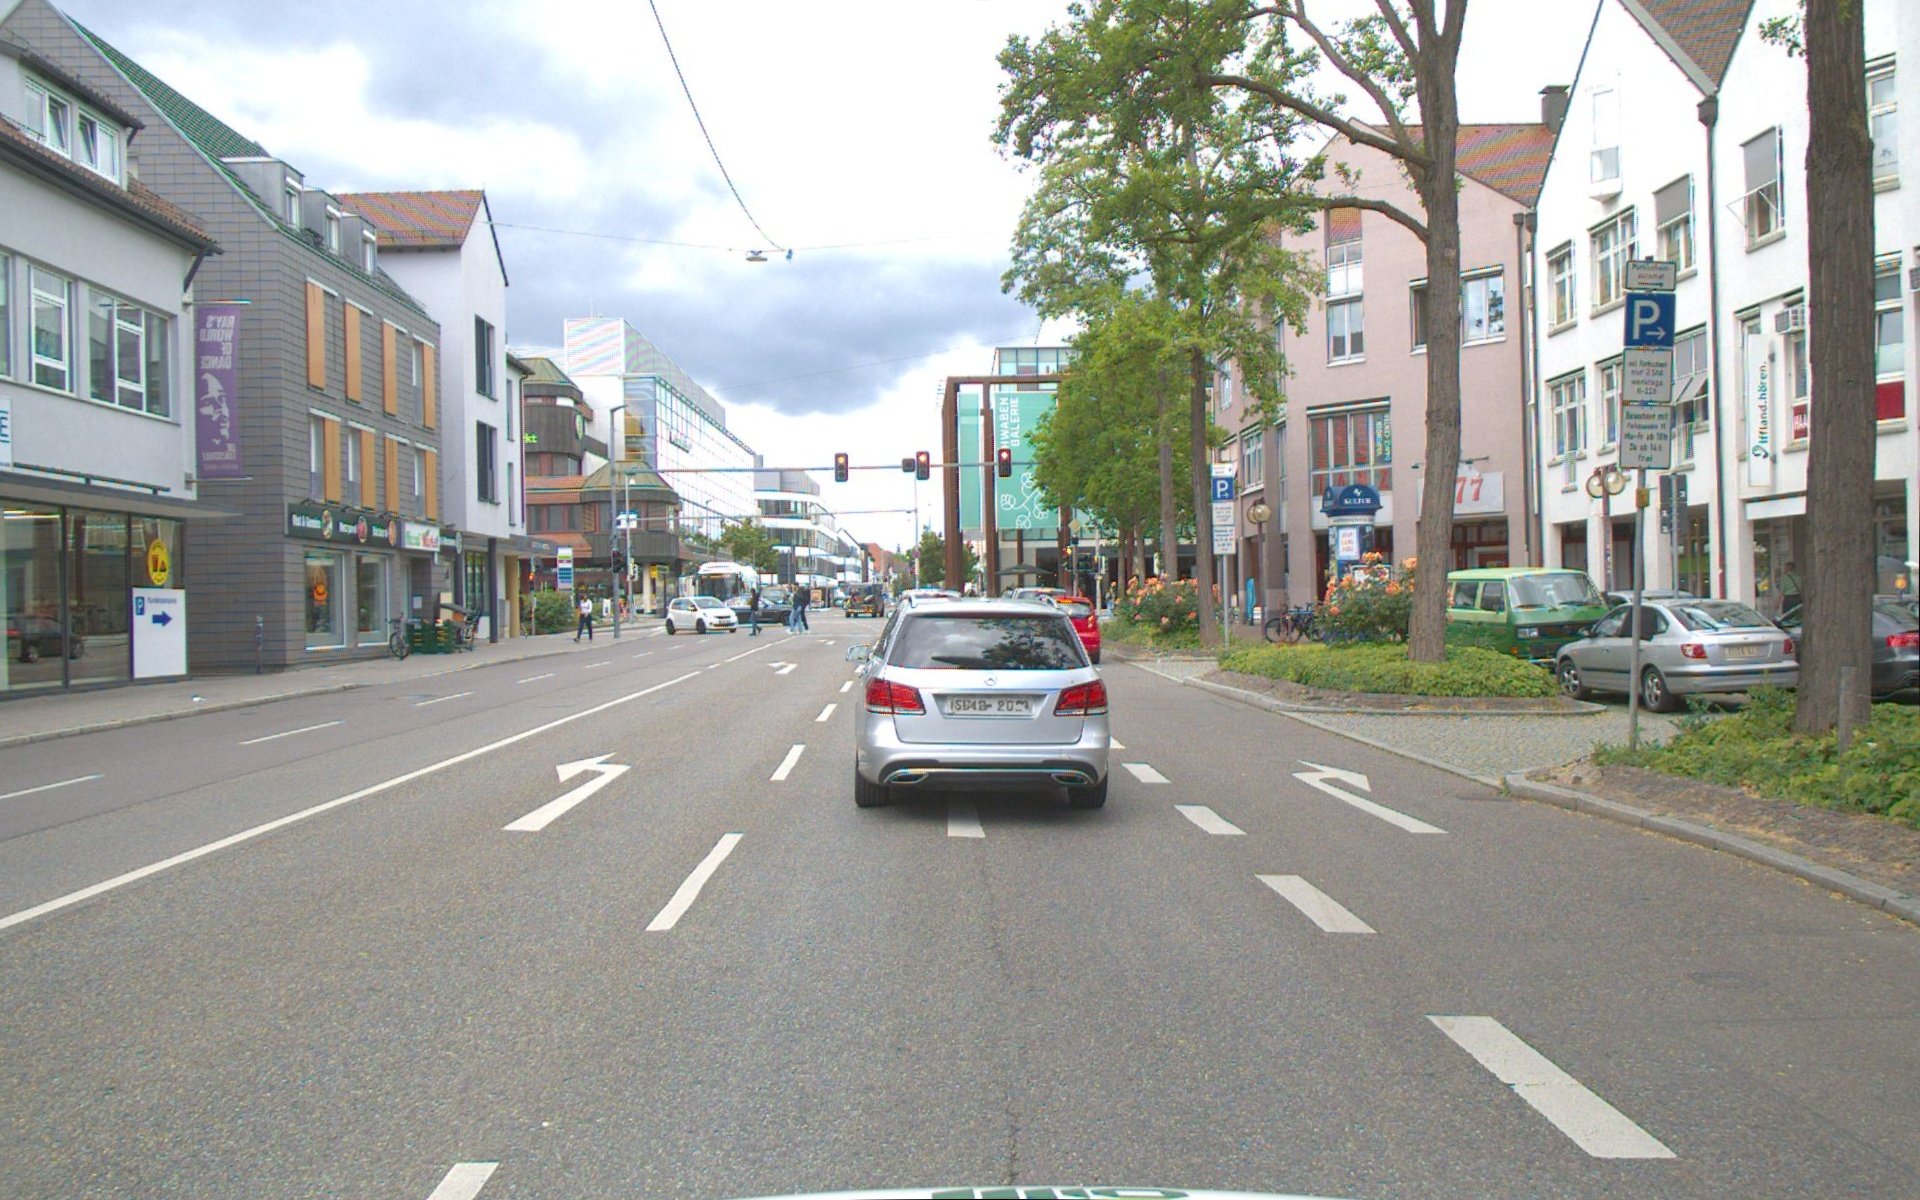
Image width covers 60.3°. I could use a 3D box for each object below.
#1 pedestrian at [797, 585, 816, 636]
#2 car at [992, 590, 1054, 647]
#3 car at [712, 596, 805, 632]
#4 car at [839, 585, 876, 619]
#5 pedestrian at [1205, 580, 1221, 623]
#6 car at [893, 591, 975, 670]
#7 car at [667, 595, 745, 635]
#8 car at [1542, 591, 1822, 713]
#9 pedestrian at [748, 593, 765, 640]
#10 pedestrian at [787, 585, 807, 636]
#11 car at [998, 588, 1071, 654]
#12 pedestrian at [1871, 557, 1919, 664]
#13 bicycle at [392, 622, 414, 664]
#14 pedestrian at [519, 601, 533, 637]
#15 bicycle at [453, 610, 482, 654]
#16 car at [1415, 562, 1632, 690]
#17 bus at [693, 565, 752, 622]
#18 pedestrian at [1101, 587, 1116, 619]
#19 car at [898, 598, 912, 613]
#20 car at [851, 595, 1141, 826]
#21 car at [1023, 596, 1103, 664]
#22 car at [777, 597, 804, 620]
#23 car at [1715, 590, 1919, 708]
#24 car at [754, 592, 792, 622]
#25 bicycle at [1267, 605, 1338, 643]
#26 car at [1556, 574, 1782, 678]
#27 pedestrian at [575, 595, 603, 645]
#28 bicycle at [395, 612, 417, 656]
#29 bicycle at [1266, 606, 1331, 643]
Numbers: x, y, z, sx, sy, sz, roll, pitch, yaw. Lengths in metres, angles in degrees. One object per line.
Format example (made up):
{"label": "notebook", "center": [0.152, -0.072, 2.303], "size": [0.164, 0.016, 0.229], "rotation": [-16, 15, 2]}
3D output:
{"label": "pedestrian", "center": [-5.538, 0.381, 59.797], "size": [0.633, 1.806, 0.569], "rotation": [-1, 0, -9]}
{"label": "car", "center": [1.884, 0.541, 50.237], "size": [1.555, 1.623, 3.866], "rotation": [1, 0, -3]}
{"label": "car", "center": [-9.273, 0.642, 76.390], "size": [4.102, 1.557, 1.790], "rotation": [-1, 0, -1]}
{"label": "car", "center": [-6.186, 0.082, 100.314], "size": [1.953, 1.983, 4.950], "rotation": [-1, 0, -1]}
{"label": "pedestrian", "center": [10.772, 0.074, 70.479], "size": [0.557, 1.806, 0.647], "rotation": [-1, 0, 2]}
{"label": "car", "center": [-0.554, 0.588, 34.277], "size": [1.606, 1.554, 3.393], "rotation": [0, 0, -1]}
{"label": "car", "center": [-10.212, 0.623, 66.332], "size": [1.564, 1.514, 3.413], "rotation": [-2, 0, -40]}
{"label": "car", "center": [9.767, 0.643, 22.793], "size": [1.727, 1.476, 4.416], "rotation": [-1, 0, -3]}
{"label": "pedestrian", "center": [-7.354, 0.578, 59.746], "size": [0.546, 1.679, 0.653], "rotation": [-1, 0, -4]}
{"label": "pedestrian", "center": [-5.822, 0.373, 59.106], "size": [0.635, 1.821, 0.682], "rotation": [-1, 0, -11]}
{"label": "car", "center": [1.950, 0.536, 44.070], "size": [1.555, 1.662, 3.914], "rotation": [1, 0, -3]}
{"label": "pedestrian", "center": [15.362, 0.155, 26.689], "size": [0.773, 1.688, 0.818], "rotation": [-3, 0, -2]}
{"label": "bicycle", "center": [-13.645, 1.048, 40.507], "size": [0.320, 0.970, 1.479], "rotation": [-1, 0, -12]}
{"label": "pedestrian", "center": [-17.751, 0.771, 67.621], "size": [0.440, 1.453, 0.441], "rotation": [-1, 0, -1]}
{"label": "bicycle", "center": [-14.127, 0.901, 47.453], "size": [0.379, 1.207, 1.824], "rotation": [-1, 0, -4]}
{"label": "car", "center": [9.403, 0.401, 28.035], "size": [1.843, 1.909, 4.603], "rotation": [-2, 0, -3]}
{"label": "bus", "center": [-14.416, -0.398, 100.963], "size": [2.633, 3.318, 8.649], "rotation": [-1, 0, -2]}
{"label": "pedestrian", "center": [7.788, 0.166, 86.784], "size": [0.641, 1.679, 0.557], "rotation": [-1, 0, -16]}
{"label": "car", "center": [-6.694, 0.684, 201.641], "size": [1.681, 1.736, 4.063], "rotation": [-1, 0, -2]}
{"label": "car", "center": [0.097, 0.722, 12.860], "size": [1.780, 1.474, 4.365], "rotation": [1, 0, -5]}
{"label": "car", "center": [2.318, 0.654, 37.959], "size": [1.554, 1.468, 3.347], "rotation": [1, 0, -1]}
{"label": "car", "center": [-10.810, 0.519, 105.760], "size": [1.524, 1.417, 3.286], "rotation": [-1, 0, -2]}
{"label": "car", "center": [12.498, 0.601, 22.795], "size": [1.957, 1.400, 4.416], "rotation": [-2, 0, -3]}
{"label": "car", "center": [-11.113, 0.385, 98.496], "size": [1.953, 1.736, 4.063], "rotation": [-1, 0, -2]}
{"label": "bicycle", "center": [9.543, 0.672, 46.111], "size": [1.861, 1.014, 0.468], "rotation": [-1, 0, 3]}
{"label": "car", "center": [12.000, 0.403, 28.336], "size": [1.760, 1.569, 4.391], "rotation": [-2, 0, -3]}
{"label": "pedestrian", "center": [-12.329, 0.669, 54.984], "size": [0.713, 1.638, 0.753], "rotation": [-1, 0, -1]}
{"label": "bicycle", "center": [-15.007, 0.907, 44.840], "size": [0.379, 1.147, 1.286], "rotation": [-1, 0, -11]}
{"label": "bicycle", "center": [9.541, 0.692, 46.658], "size": [1.731, 1.014, 0.447], "rotation": [-1, 0, 3]}
